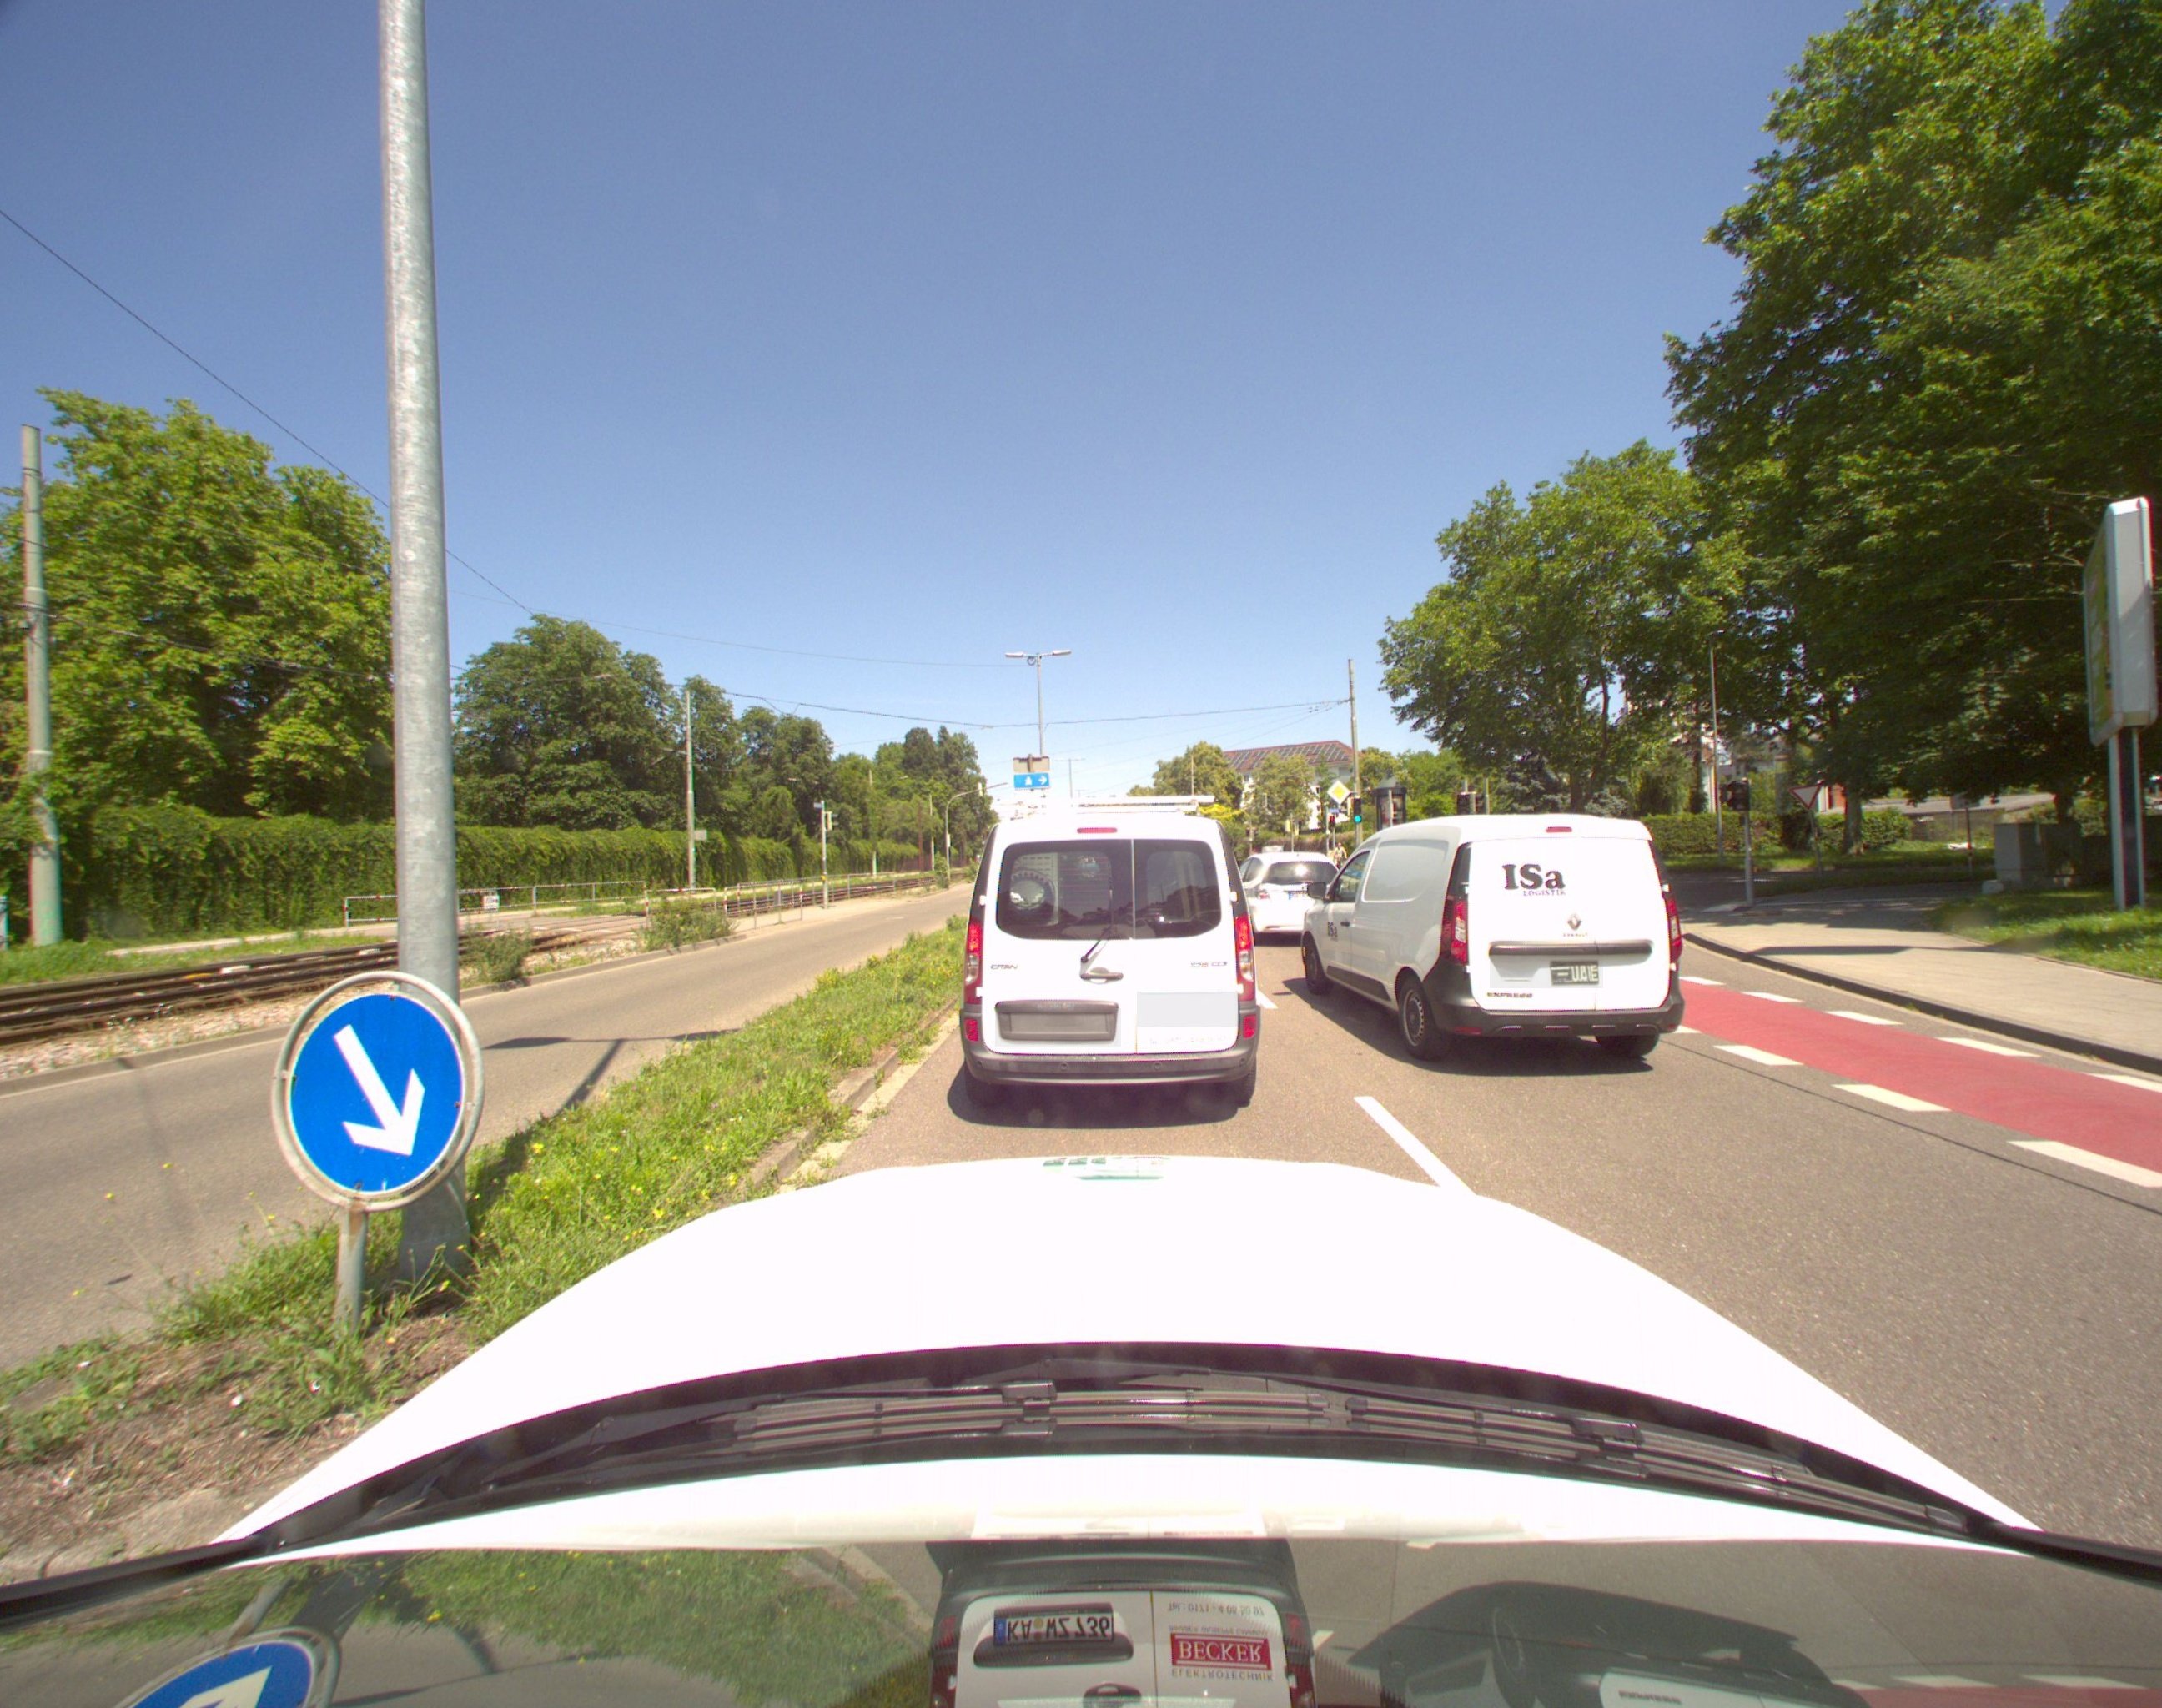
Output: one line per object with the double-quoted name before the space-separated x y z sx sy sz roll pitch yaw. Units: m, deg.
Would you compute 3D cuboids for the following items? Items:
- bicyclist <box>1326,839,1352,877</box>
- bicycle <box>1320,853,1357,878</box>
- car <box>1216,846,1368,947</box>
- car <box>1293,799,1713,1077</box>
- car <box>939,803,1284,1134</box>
"bicyclist" 12.607 0.198 39.789 0.973 1.788 0.723 -1 -1 -11
"bicycle" 12.577 0.541 39.808 0.892 1.159 1.949 -1 -1 -10
"car" 3.644 0.657 14.798 1.828 1.568 4.002 0 0 2
"car" 3.269 0.551 7.321 1.721 1.788 4.065 0 0 1
"car" 0.232 0.617 6.559 1.814 1.739 4.398 -1 0 2
